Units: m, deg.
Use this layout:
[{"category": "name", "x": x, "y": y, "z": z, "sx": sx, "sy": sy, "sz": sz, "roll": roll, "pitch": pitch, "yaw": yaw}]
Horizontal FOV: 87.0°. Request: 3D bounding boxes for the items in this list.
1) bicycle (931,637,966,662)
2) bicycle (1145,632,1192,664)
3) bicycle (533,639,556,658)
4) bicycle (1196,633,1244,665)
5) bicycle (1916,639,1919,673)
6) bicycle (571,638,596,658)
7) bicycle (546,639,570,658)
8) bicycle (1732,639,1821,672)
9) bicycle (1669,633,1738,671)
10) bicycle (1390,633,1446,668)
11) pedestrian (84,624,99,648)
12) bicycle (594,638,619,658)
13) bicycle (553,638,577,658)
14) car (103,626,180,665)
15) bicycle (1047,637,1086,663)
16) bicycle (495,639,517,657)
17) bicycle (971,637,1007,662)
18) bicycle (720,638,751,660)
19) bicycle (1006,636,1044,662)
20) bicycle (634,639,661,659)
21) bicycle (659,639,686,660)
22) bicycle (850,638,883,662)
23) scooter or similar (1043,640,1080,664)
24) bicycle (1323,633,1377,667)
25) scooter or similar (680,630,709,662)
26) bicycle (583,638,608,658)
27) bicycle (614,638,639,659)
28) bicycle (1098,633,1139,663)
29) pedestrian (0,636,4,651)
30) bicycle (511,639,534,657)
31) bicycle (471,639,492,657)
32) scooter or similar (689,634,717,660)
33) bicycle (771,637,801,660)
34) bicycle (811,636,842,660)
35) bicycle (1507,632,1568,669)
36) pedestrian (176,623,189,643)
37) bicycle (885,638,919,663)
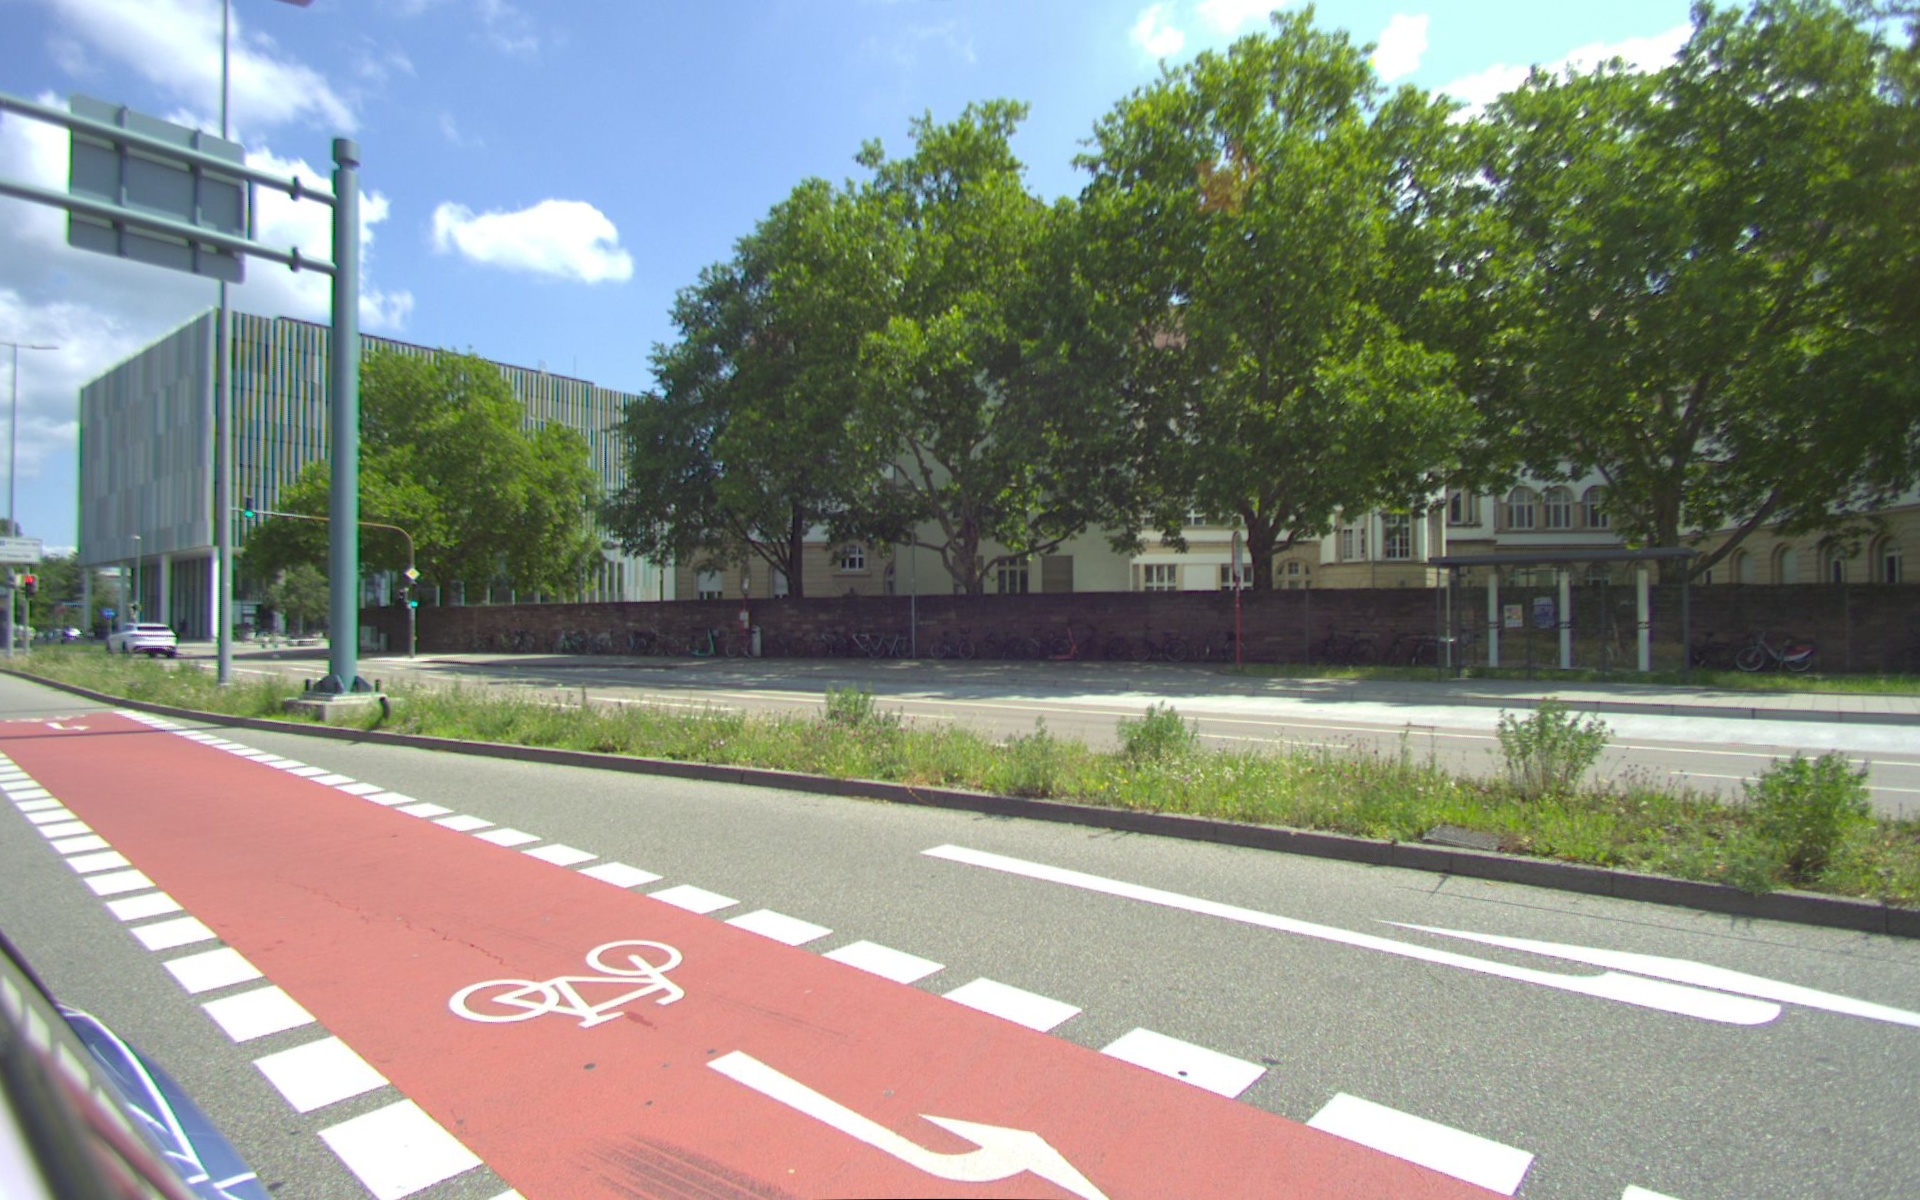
[{"category": "bicycle", "x": -0.393, "y": 1.673, "z": 34.263, "sx": 1.230, "sy": 0.837, "sz": 0.262, "roll": -1, "pitch": -2, "yaw": 28}, {"category": "bicycle", "x": 6.402, "y": 1.477, "z": 31.041, "sx": 1.385, "sy": 0.972, "sz": 0.263, "roll": -1, "pitch": -2, "yaw": 20}, {"category": "bicycle", "x": -18.593, "y": 2.163, "z": 45.313, "sx": 1.230, "sy": 0.837, "sz": 0.262, "roll": -1, "pitch": -2, "yaw": 29}, {"category": "bicycle", "x": 7.808, "y": 1.470, "z": 30.421, "sx": 1.389, "sy": 0.972, "sz": 0.262, "roll": -1, "pitch": -2, "yaw": 28}, {"category": "bicycle", "x": 24.443, "y": 1.358, "z": 24.608, "sx": 1.734, "sy": 0.823, "sz": 0.382, "roll": -1, "pitch": -2, "yaw": 18}, {"category": "bicycle", "x": -16.265, "y": 2.083, "z": 43.729, "sx": 1.231, "sy": 0.837, "sz": 0.262, "roll": -2, "pitch": -2, "yaw": 30}, {"category": "bicycle", "x": -17.476, "y": 2.107, "z": 43.976, "sx": 1.230, "sy": 0.837, "sz": 0.262, "roll": -1, "pitch": -2, "yaw": 29}, {"category": "bicycle", "x": 20.747, "y": 1.407, "z": 25.727, "sx": 1.734, "sy": 0.823, "sz": 0.327, "roll": -1, "pitch": -2, "yaw": 18}, {"category": "bicycle", "x": 19.235, "y": 1.347, "z": 26.200, "sx": 1.384, "sy": 0.972, "sz": 0.263, "roll": -1, "pitch": -2, "yaw": 18}, {"category": "bicycle", "x": 12.866, "y": 1.427, "z": 28.423, "sx": 1.384, "sy": 0.972, "sz": 0.263, "roll": -1, "pitch": -2, "yaw": 18}, {"category": "pedestrian", "x": -75.142, "y": 3.100, "z": 87.565, "sx": 0.994, "sy": 2.029, "sz": 0.853, "roll": -2, "pitch": -2, "yaw": 39}, {"category": "bicycle", "x": -15.006, "y": 2.018, "z": 42.897, "sx": 1.231, "sy": 0.837, "sz": 0.262, "roll": -2, "pitch": -2, "yaw": 30}, {"category": "bicycle", "x": -17.404, "y": 2.112, "z": 44.563, "sx": 1.230, "sy": 0.837, "sz": 0.262, "roll": -1, "pitch": -2, "yaw": 29}, {"category": "car", "x": -38.456, "y": 2.096, "z": 47.517, "sx": 4.508, "sy": 1.724, "sz": 1.973, "roll": -2, "pitch": -2, "yaw": 40}, {"category": "bicycle", "x": 3.411, "y": 1.595, "z": 32.462, "sx": 1.230, "sy": 0.837, "sz": 0.262, "roll": -1, "pitch": -2, "yaw": 28}, {"category": "bicycle", "x": -21.073, "y": 2.238, "z": 46.982, "sx": 1.231, "sy": 0.837, "sz": 0.262, "roll": -2, "pitch": -2, "yaw": 30}, {"category": "bicycle", "x": 0.962, "y": 1.646, "z": 33.723, "sx": 1.230, "sy": 0.837, "sz": 0.262, "roll": -1, "pitch": -2, "yaw": 28}, {"category": "bicycle", "x": -8.645, "y": 1.887, "z": 38.953, "sx": 1.226, "sy": 0.837, "sz": 0.263, "roll": -1, "pitch": -2, "yaw": 19}, {"category": "bicycle", "x": 2.134, "y": 1.611, "z": 33.073, "sx": 1.230, "sy": 0.837, "sz": 0.262, "roll": -1, "pitch": -2, "yaw": 28}, {"category": "bicycle", "x": -12.811, "y": 2.008, "z": 41.471, "sx": 1.231, "sy": 0.837, "sz": 0.262, "roll": -2, "pitch": -2, "yaw": 30}, {"category": "bicycle", "x": -11.530, "y": 1.967, "z": 40.563, "sx": 1.231, "sy": 0.837, "sz": 0.262, "roll": -2, "pitch": -2, "yaw": 30}, {"category": "bicycle", "x": -3.328, "y": 1.754, "z": 35.901, "sx": 1.231, "sy": 0.837, "sz": 0.262, "roll": -1, "pitch": -2, "yaw": 30}, {"category": "scooter or similar", "x": 3.180, "y": 1.630, "z": 31.812, "sx": 1.133, "sy": 0.734, "sz": 0.264, "roll": -1, "pitch": -2, "yaw": 18}, {"category": "bicycle", "x": 11.181, "y": 1.428, "z": 29.037, "sx": 1.384, "sy": 0.972, "sz": 0.263, "roll": -1, "pitch": -2, "yaw": 18}, {"category": "scooter or similar", "x": -10.221, "y": 1.762, "z": 38.946, "sx": 1.230, "sy": 1.199, "sz": 0.262, "roll": -1, "pitch": -2, "yaw": 29}, {"category": "bicycle", "x": -15.329, "y": 2.005, "z": 42.559, "sx": 1.230, "sy": 0.837, "sz": 0.262, "roll": -1, "pitch": -2, "yaw": 29}, {"category": "bicycle", "x": -13.916, "y": 2.028, "z": 42.220, "sx": 1.231, "sy": 0.837, "sz": 0.262, "roll": -2, "pitch": -2, "yaw": 30}, {"category": "bicycle", "x": 4.946, "y": 1.502, "z": 31.600, "sx": 1.230, "sy": 0.915, "sz": 0.262, "roll": -1, "pitch": -2, "yaw": 28}, {"category": "pedestrian", "x": -102.574, "y": 4.640, "z": 107.824, "sx": 0.994, "sy": 1.669, "sz": 0.853, "roll": -2, "pitch": -2, "yaw": 39}, {"category": "bicycle", "x": -19.970, "y": 2.188, "z": 46.201, "sx": 1.230, "sy": 0.837, "sz": 0.262, "roll": -1, "pitch": -2, "yaw": 29}, {"category": "bicycle", "x": -22.690, "y": 2.282, "z": 47.961, "sx": 1.231, "sy": 0.837, "sz": 0.262, "roll": -2, "pitch": -2, "yaw": 30}, {"category": "scooter or similar", "x": -10.142, "y": 1.852, "z": 39.923, "sx": 1.133, "sy": 1.028, "sz": 0.264, "roll": -1, "pitch": -2, "yaw": 19}, {"category": "bicycle", "x": -6.468, "y": 1.811, "z": 37.570, "sx": 1.231, "sy": 0.837, "sz": 0.262, "roll": -1, "pitch": -2, "yaw": 30}, {"category": "bicycle", "x": -4.872, "y": 1.742, "z": 36.890, "sx": 1.231, "sy": 0.837, "sz": 0.262, "roll": -1, "pitch": -2, "yaw": 30}, {"category": "bicycle", "x": 15.633, "y": 1.370, "z": 27.394, "sx": 1.384, "sy": 0.972, "sz": 0.263, "roll": -1, "pitch": -2, "yaw": 18}, {"category": "pedestrian", "x": -77.980, "y": 3.322, "z": 101.516, "sx": 0.994, "sy": 2.029, "sz": 0.853, "roll": -2, "pitch": -2, "yaw": 40}, {"category": "bicycle", "x": -2.013, "y": 1.752, "z": 35.121, "sx": 1.231, "sy": 0.837, "sz": 0.262, "roll": -1, "pitch": -2, "yaw": 30}]
